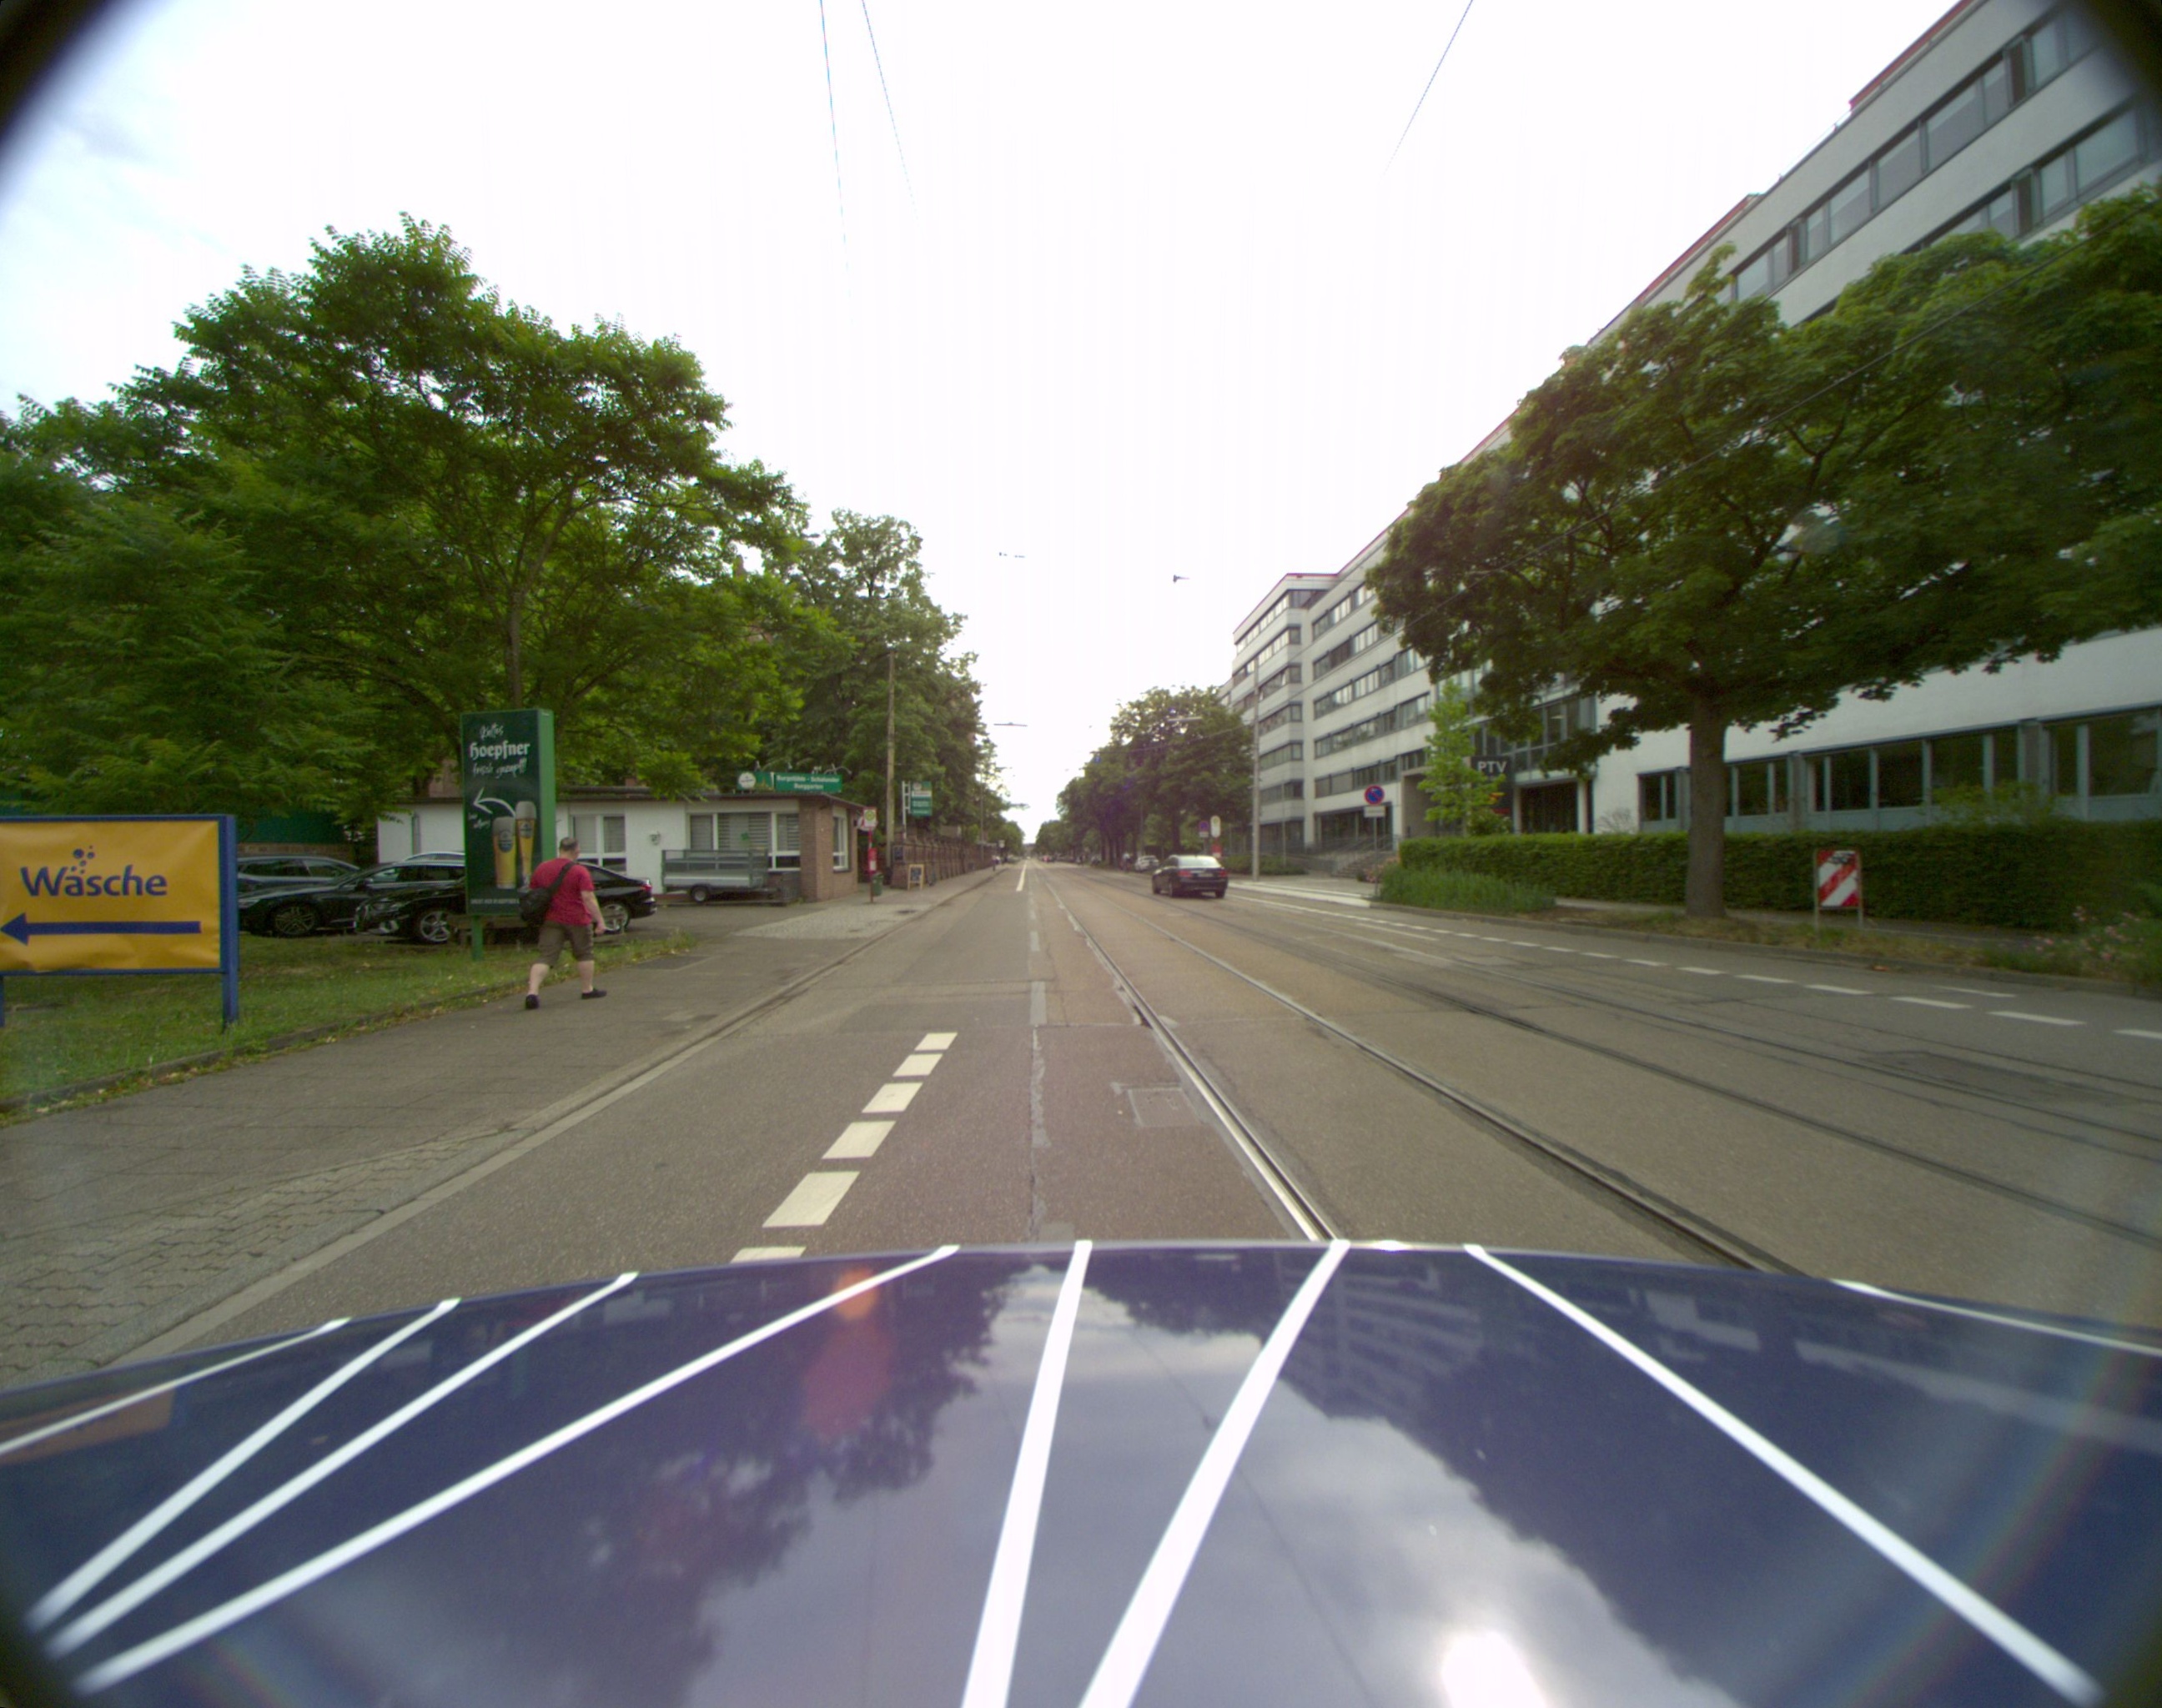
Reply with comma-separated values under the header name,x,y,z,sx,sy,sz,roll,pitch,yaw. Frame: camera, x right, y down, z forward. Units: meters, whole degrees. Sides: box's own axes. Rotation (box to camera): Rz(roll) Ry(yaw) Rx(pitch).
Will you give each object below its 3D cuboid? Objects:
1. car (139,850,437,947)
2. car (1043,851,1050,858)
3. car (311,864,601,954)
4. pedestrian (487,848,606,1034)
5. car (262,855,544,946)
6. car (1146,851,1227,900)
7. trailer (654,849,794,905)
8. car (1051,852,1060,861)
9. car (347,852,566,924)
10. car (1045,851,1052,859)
name,x,y,z,sx,sy,sz,roll,pitch,yaw
car,-16.552,0.831,16.086,1.807,1.686,4.033,-1,1,33
car,-10.324,0.176,228.759,1.999,2.002,3.999,-2,1,-2
car,-11.235,0.901,14.129,1.998,1.281,4.000,-2,1,1
pedestrian,-5.387,0.823,7.718,0.871,1.738,0.849,1,1,-29
car,-13.823,0.846,15.706,1.822,1.509,4.008,-1,1,37
car,3.685,0.689,27.319,1.802,1.537,4.477,-2,1,-6
trailer,-10.505,0.658,22.561,3.291,1.523,1.773,0,3,-3
car,-6.095,0.500,180.817,1.998,2.002,4.000,-2,1,1
car,-16.372,0.841,20.116,3.998,1.657,1.999,-2,1,-3
car,-9.242,0.271,215.284,1.999,2.002,3.999,-2,1,-2
